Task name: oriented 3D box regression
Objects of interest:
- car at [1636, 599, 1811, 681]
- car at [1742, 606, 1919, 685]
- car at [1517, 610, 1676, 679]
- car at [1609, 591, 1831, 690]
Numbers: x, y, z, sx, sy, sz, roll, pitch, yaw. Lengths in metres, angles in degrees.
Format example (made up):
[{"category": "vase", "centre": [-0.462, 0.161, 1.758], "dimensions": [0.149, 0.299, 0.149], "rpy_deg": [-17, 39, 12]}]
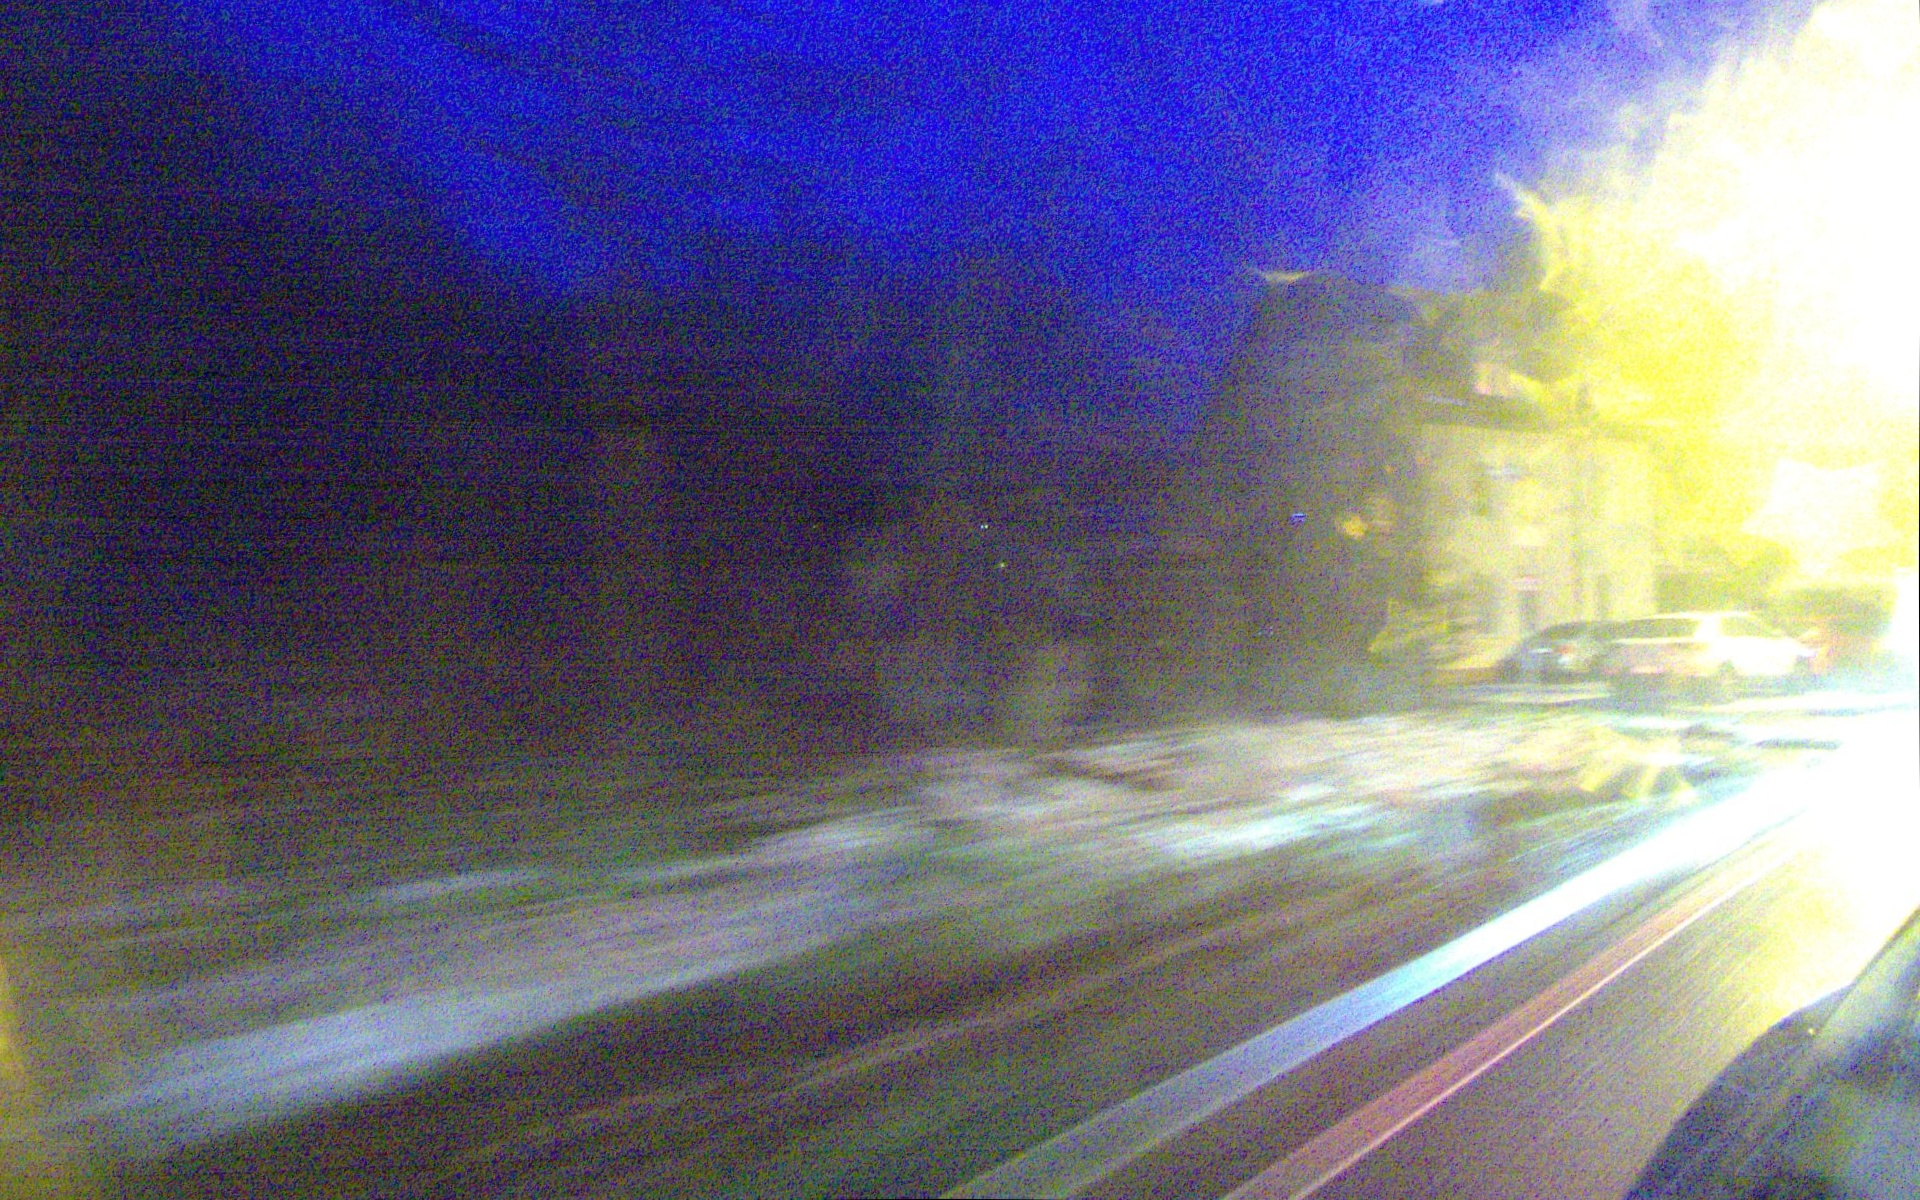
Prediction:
[{"category": "car", "centre": [16.931, 0.883, 22.452], "dimensions": [3.462, 1.640, 1.644], "rpy_deg": [2, 1, -26]}, {"category": "car", "centre": [17.330, 0.860, 19.987], "dimensions": [3.600, 1.416, 1.643], "rpy_deg": [1, 0, -28]}, {"category": "car", "centre": [15.901, 1.105, 25.280], "dimensions": [3.599, 1.529, 1.644], "rpy_deg": [2, 1, -26]}, {"category": "car", "centre": [13.407, 0.710, 17.840], "dimensions": [3.723, 1.586, 1.682], "rpy_deg": [3, -1, -28]}]
